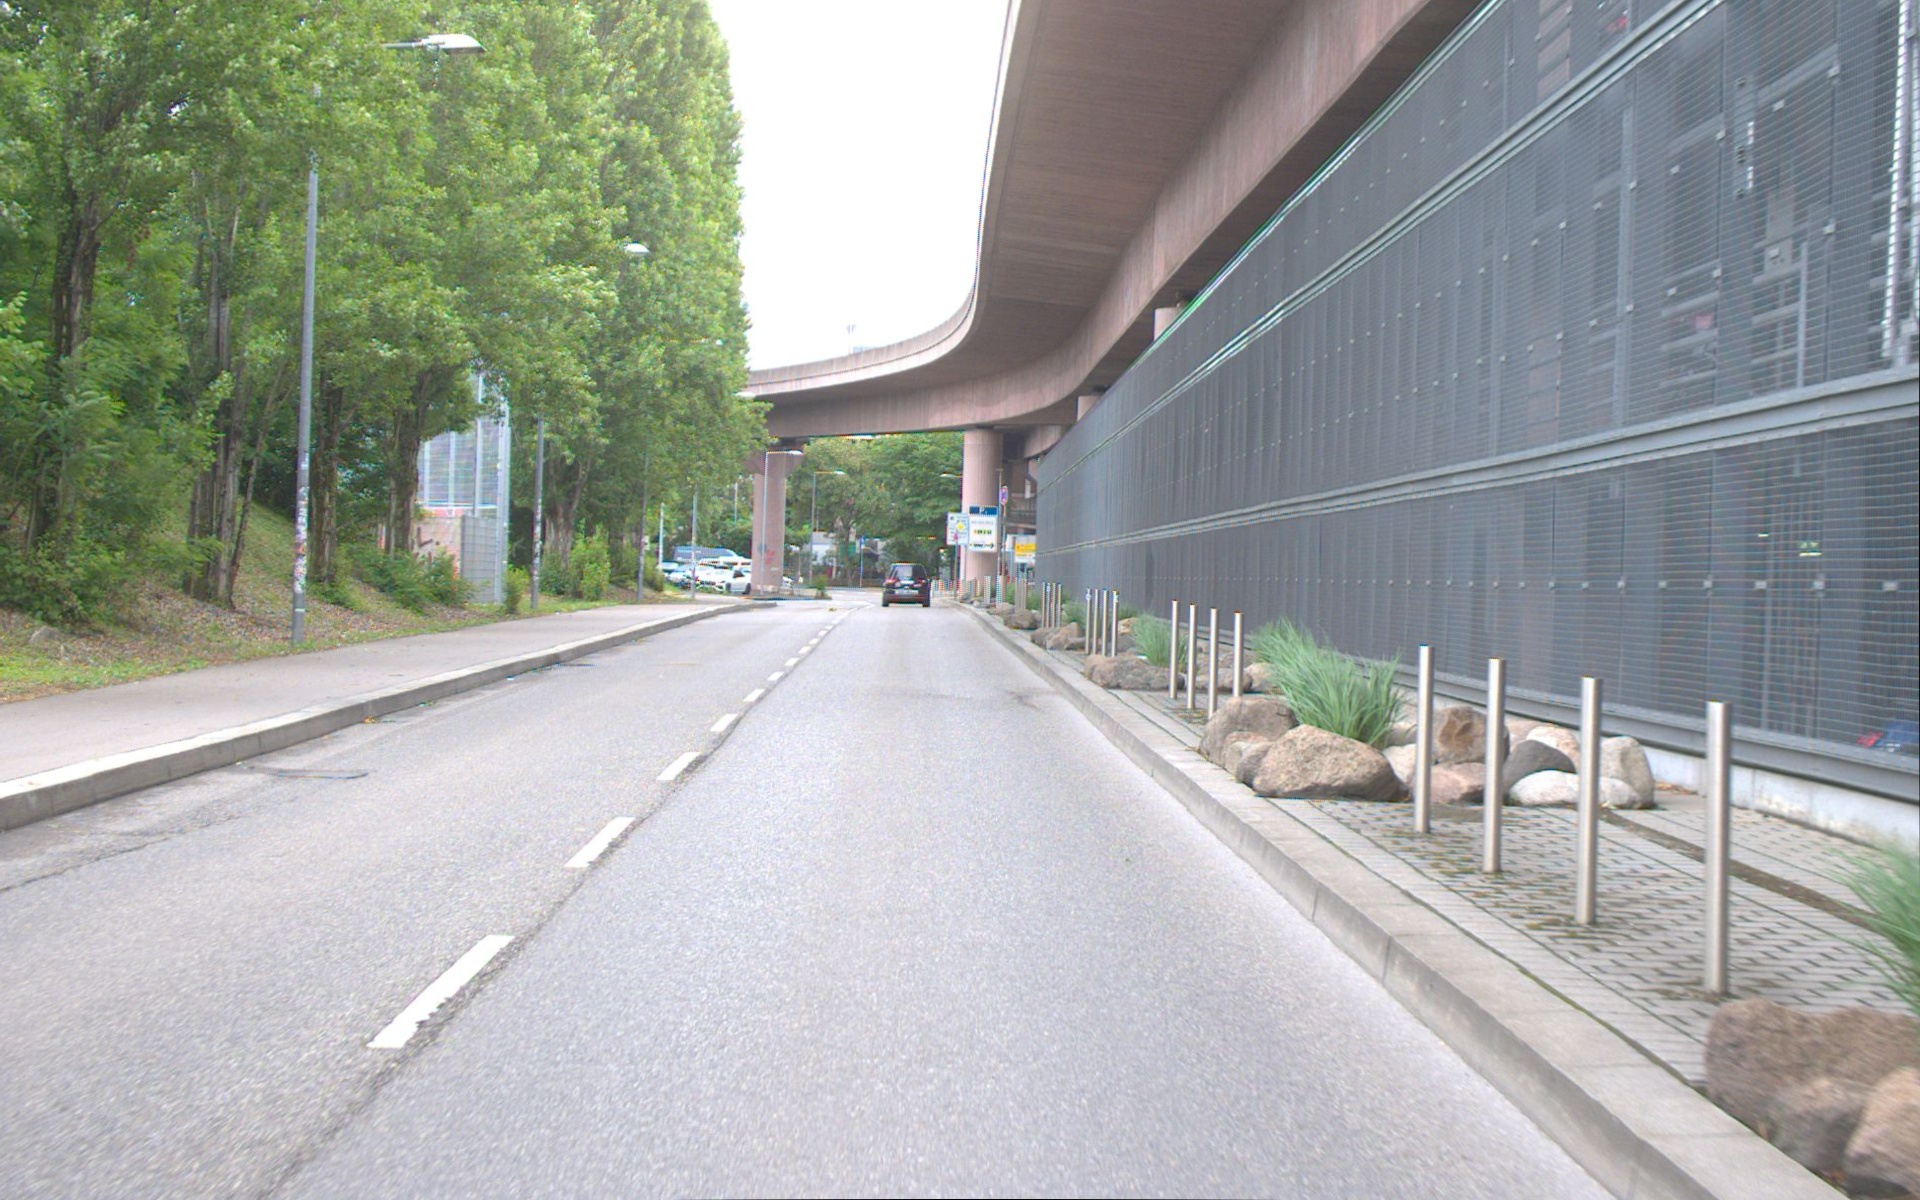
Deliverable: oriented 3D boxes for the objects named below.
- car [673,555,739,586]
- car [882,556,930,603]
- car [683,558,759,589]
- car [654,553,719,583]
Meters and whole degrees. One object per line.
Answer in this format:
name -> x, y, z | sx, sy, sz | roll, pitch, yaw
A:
car -> -14.807, -1.718, 200.127 | 1.724, 1.711, 3.664 | 3, 3, 41
car -> -2.119, -0.815, 135.748 | 1.839, 1.705, 3.706 | 1, 2, -1
car -> -13.604, -1.528, 195.902 | 1.884, 1.711, 4.143 | 3, 3, 41
car -> -16.218, -1.895, 203.635 | 1.724, 1.711, 3.664 | 3, 3, 41
